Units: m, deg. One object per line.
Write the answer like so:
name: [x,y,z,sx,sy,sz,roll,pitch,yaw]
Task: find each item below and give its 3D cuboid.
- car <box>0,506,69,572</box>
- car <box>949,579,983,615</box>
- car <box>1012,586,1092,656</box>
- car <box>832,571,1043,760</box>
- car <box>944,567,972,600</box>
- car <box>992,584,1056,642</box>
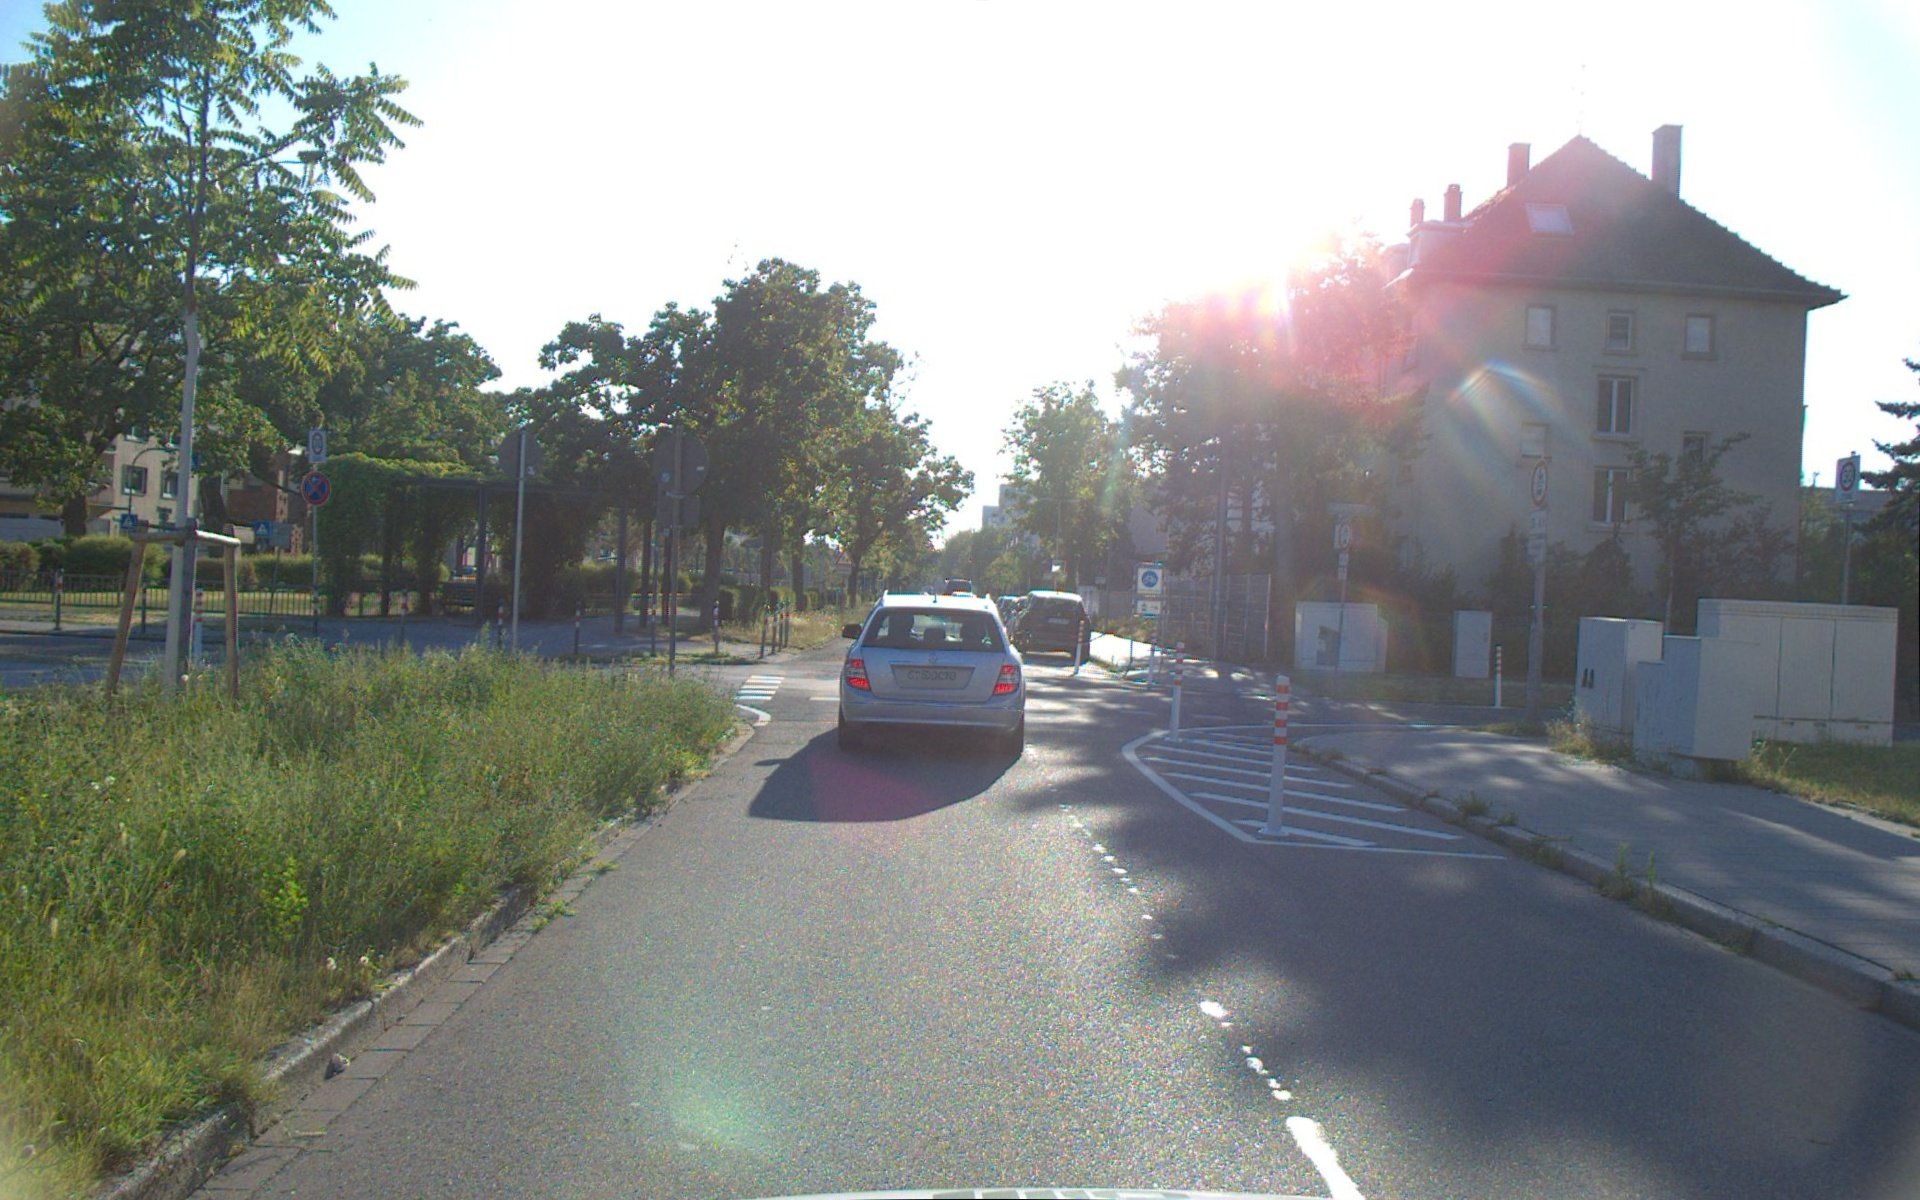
car: [-42.387,-2.742,71.958,6.233,2.767,1.981,2,0,-32]
car: [0.343,-0.168,99.918,1.948,2.058,3.999,3,0,-1]
car: [2.275,0.517,41.857,1.686,1.625,3.999,2,-1,-1]
car: [-0.219,0.537,16.322,1.786,1.594,4.000,1,1,-1]
car: [-0.179,-1.149,118.011,1.823,2.231,5.069,3,0,-1]
car: [1.934,0.380,50.782,1.686,1.624,3.999,3,0,-1]
